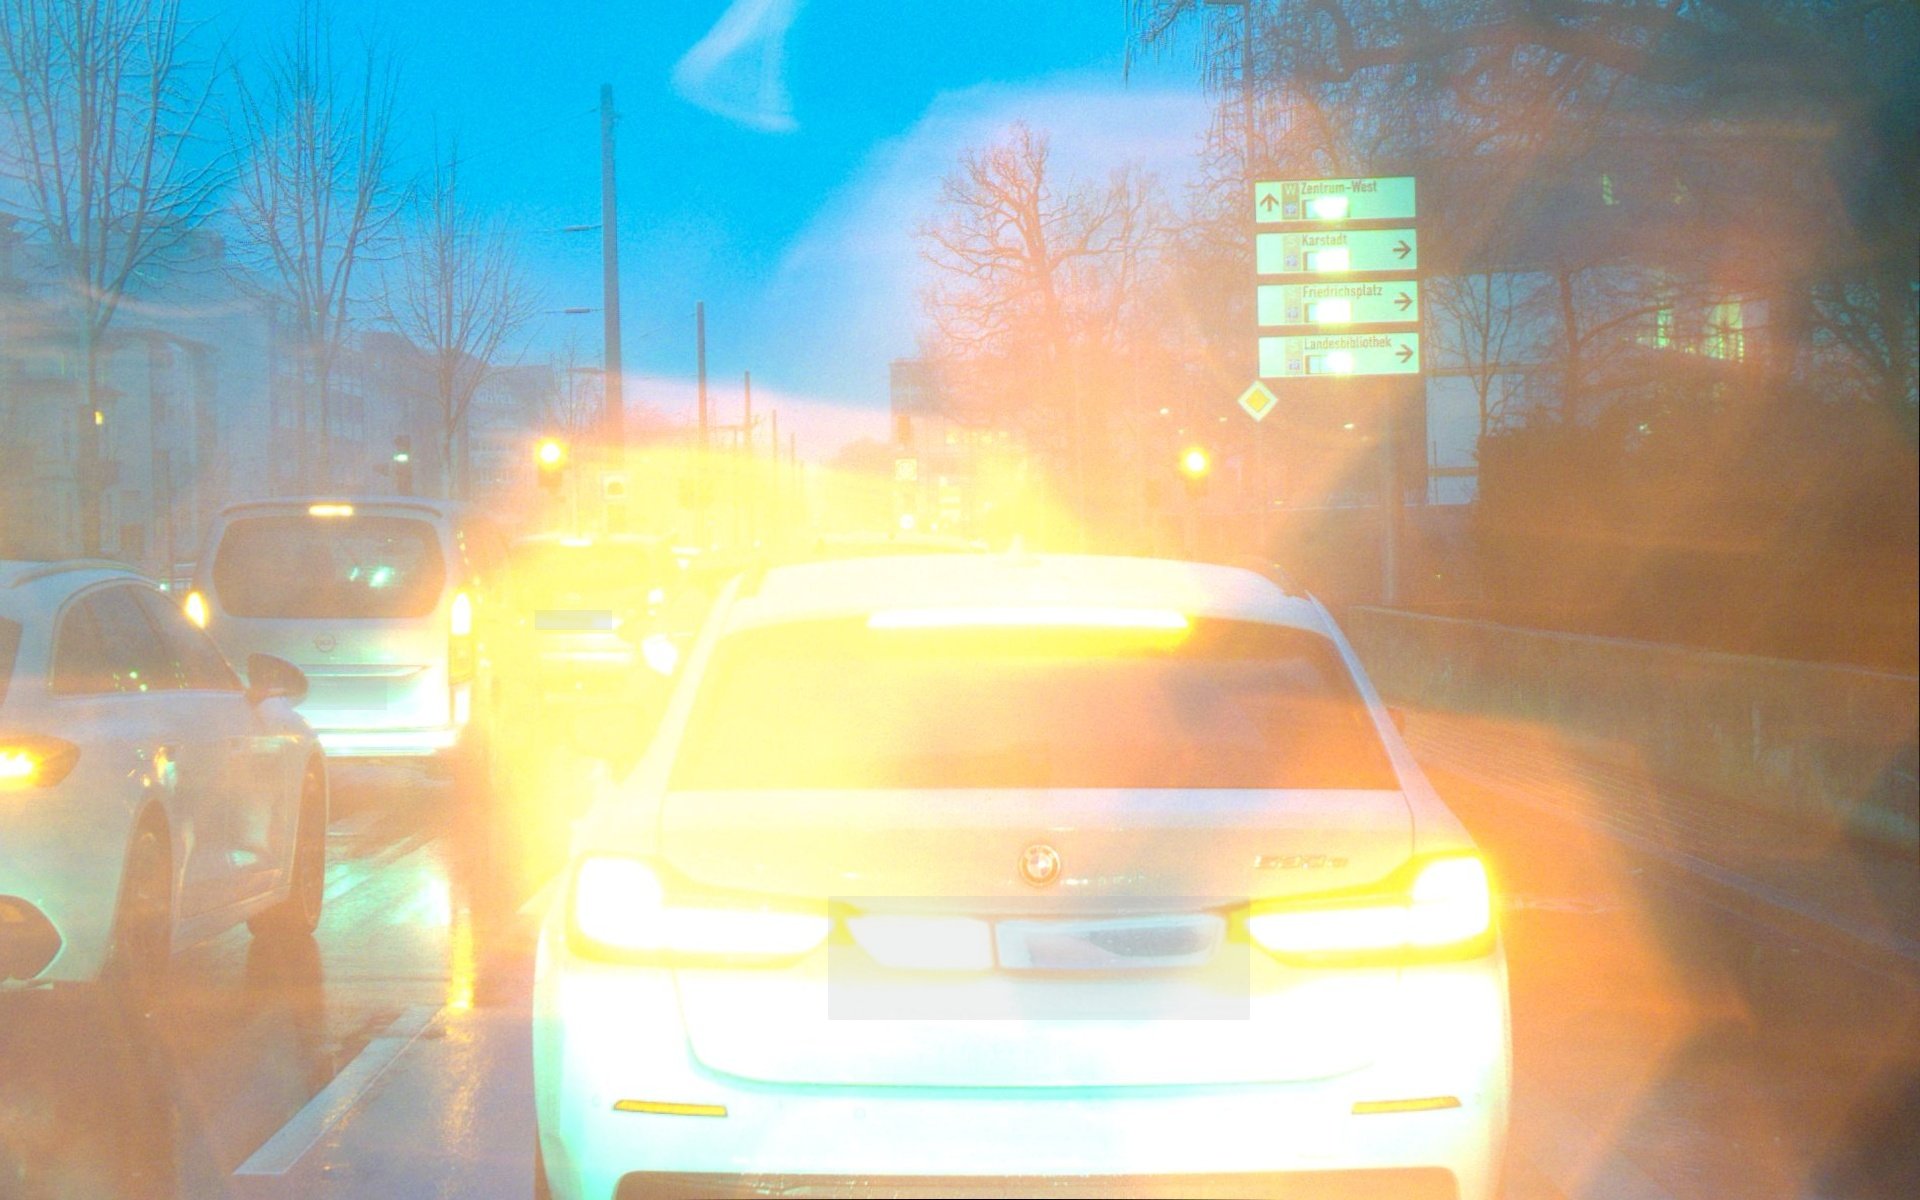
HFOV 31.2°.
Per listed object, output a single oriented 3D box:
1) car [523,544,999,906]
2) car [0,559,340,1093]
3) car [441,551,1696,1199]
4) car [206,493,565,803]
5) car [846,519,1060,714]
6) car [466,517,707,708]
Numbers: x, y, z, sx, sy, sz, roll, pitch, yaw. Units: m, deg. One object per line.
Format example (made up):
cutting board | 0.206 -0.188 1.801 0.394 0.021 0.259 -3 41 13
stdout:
car | -0.835 0.476 16.124 1.936 1.452 4.164 0 1 -1
car | -3.324 0.569 11.357 1.846 1.400 4.614 0 1 -2
car | 0.153 0.661 7.571 1.999 1.503 4.164 0 1 -1
car | -3.474 0.239 21.508 1.793 1.730 4.538 0 1 -4
car | -0.079 0.098 31.031 1.806 1.640 4.000 0 1 -1
car | -3.361 0.068 31.585 1.806 1.640 4.000 0 1 -1
